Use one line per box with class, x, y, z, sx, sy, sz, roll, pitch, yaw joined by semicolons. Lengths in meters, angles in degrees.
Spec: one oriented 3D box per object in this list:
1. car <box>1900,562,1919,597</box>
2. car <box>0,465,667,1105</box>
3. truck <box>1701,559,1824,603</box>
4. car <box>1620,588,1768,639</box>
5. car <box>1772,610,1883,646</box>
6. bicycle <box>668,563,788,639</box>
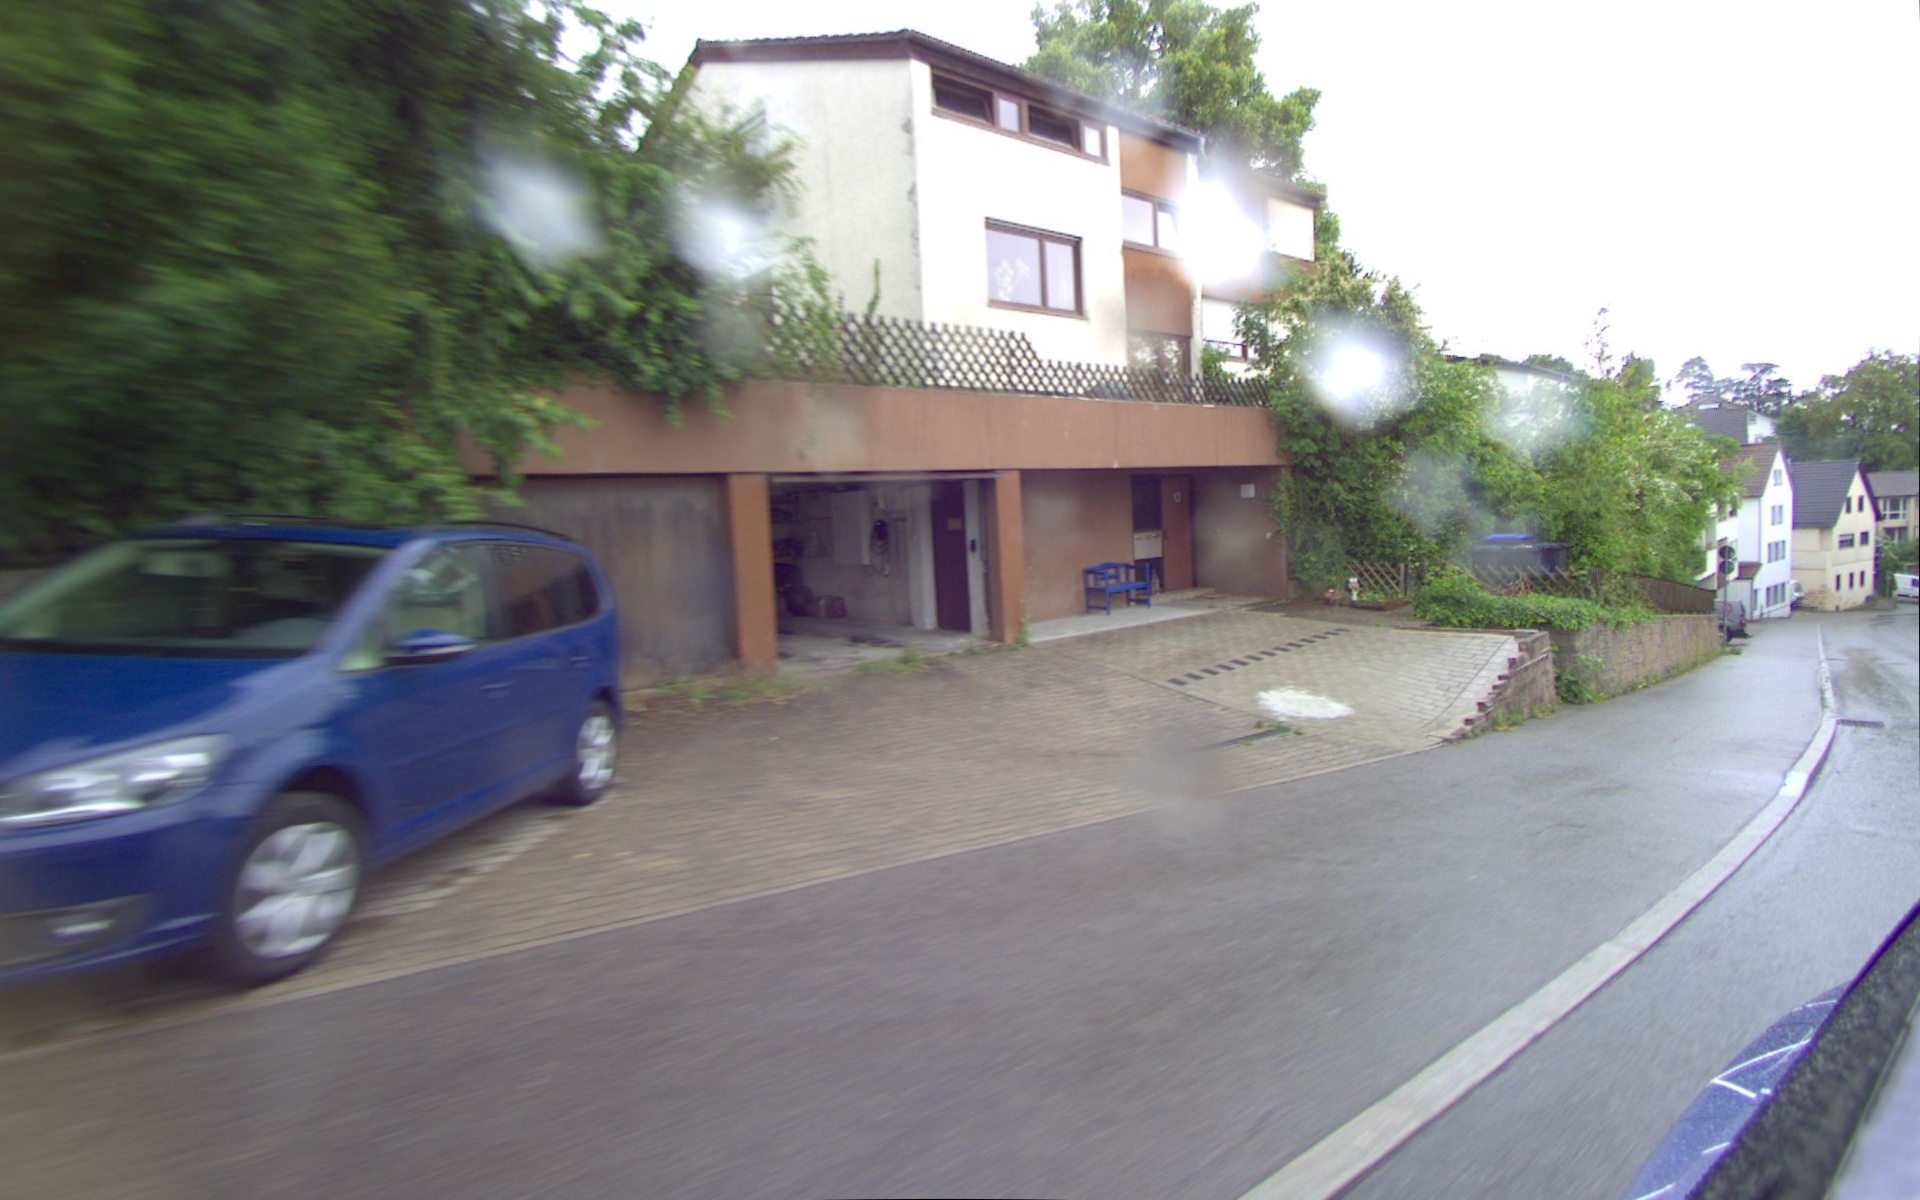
car;82.812;-1.707;85.708;4.272;2.783;1.977;3;6;34
car;-3.040;0.303;4.787;1.822;1.626;4.340;5;3;2
truck;62.534;-1.535;79.032;2.099;2.733;6.989;0;7;-34
car;29.806;0.497;41.175;4.704;1.843;1.970;2;1;41
car;40.443;1.277;47.226;3.982;1.599;1.790;-1;-1;-10
bicycle;-3.621;-0.014;15.870;1.719;1.016;0.677;-6;7;-44
